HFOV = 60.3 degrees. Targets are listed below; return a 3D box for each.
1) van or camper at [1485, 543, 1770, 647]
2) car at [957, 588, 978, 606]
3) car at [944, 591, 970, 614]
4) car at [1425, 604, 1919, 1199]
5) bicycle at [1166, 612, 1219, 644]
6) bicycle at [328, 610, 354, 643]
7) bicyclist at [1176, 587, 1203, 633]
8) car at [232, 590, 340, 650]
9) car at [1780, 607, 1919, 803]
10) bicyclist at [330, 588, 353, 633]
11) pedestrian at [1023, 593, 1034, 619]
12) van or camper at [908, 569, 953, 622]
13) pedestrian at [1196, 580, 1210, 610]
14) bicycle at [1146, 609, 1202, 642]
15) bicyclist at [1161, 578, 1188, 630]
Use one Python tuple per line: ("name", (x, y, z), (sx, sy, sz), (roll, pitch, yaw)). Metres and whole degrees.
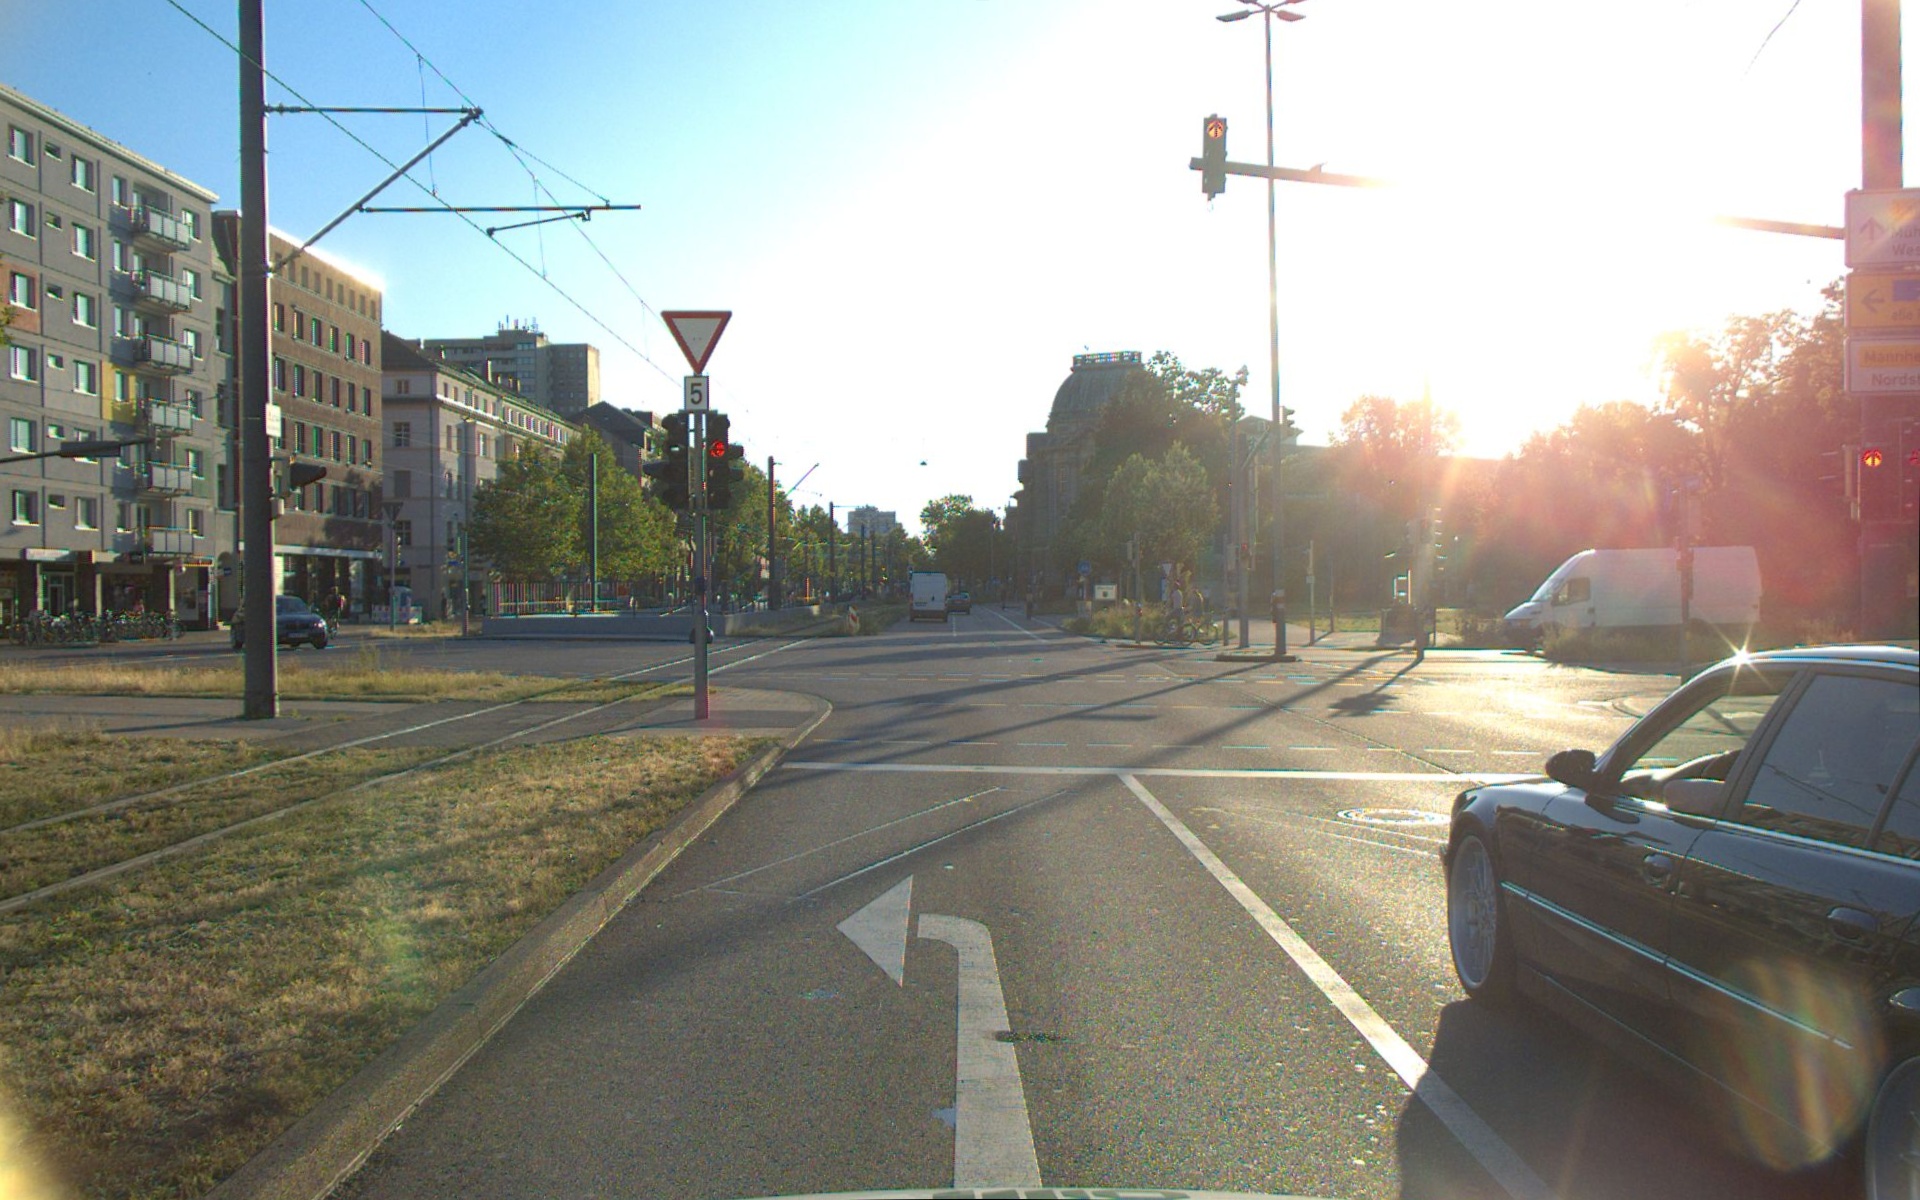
("van or camper", (18.505, -0.176, 46.153), (6.896, 2.721, 2.599), (-1, 1, 2))
("car", (0.713, -0.317, 165.399), (1.759, 1.593, 3.997), (-1, 2, -4))
("car", (-0.207, 0.144, 113.910), (1.701, 1.410, 4.001), (-1, 2, 0))
("car", (2.795, 0.758, 4.366), (1.793, 1.377, 4.641), (0, 1, 0))
("bicycle", (7.499, 0.906, 53.412), (1.681, 0.987, 0.610), (0, 1, 7))
("bicycle", (-20.776, 0.878, 55.540), (0.690, 0.986, 1.726), (2, 2, -17))
("bicyclist", (7.408, 0.311, 53.410), (0.835, 1.467, 0.664), (-1, 1, 7))
("car", (-18.315, 0.517, 44.886), (1.701, 1.459, 3.945), (0, 2, -38))
("car", (7.846, 0.795, 11.878), (1.747, 1.377, 4.266), (0, 1, -1))
("bicyclist", (-20.758, 0.351, 55.527), (0.650, 1.467, 0.852), (1, 1, -17))
("pedestrian", (4.040, 0.367, 97.873), (0.603, 1.501, 0.801), (-1, 1, 4))
("van or camper", (-1.537, -0.290, 87.429), (2.216, 2.670, 4.504), (-1, 1, 1))
("pedestrian", (13.522, -0.260, 92.024), (0.668, 1.639, 0.613), (-1, 1, 0))
("bicycle", (6.665, 0.788, 51.565), (1.692, 0.987, 0.610), (0, 1, 4))
("bicyclist", (6.680, 0.128, 51.546), (0.781, 1.598, 0.663), (-1, 1, 4))
